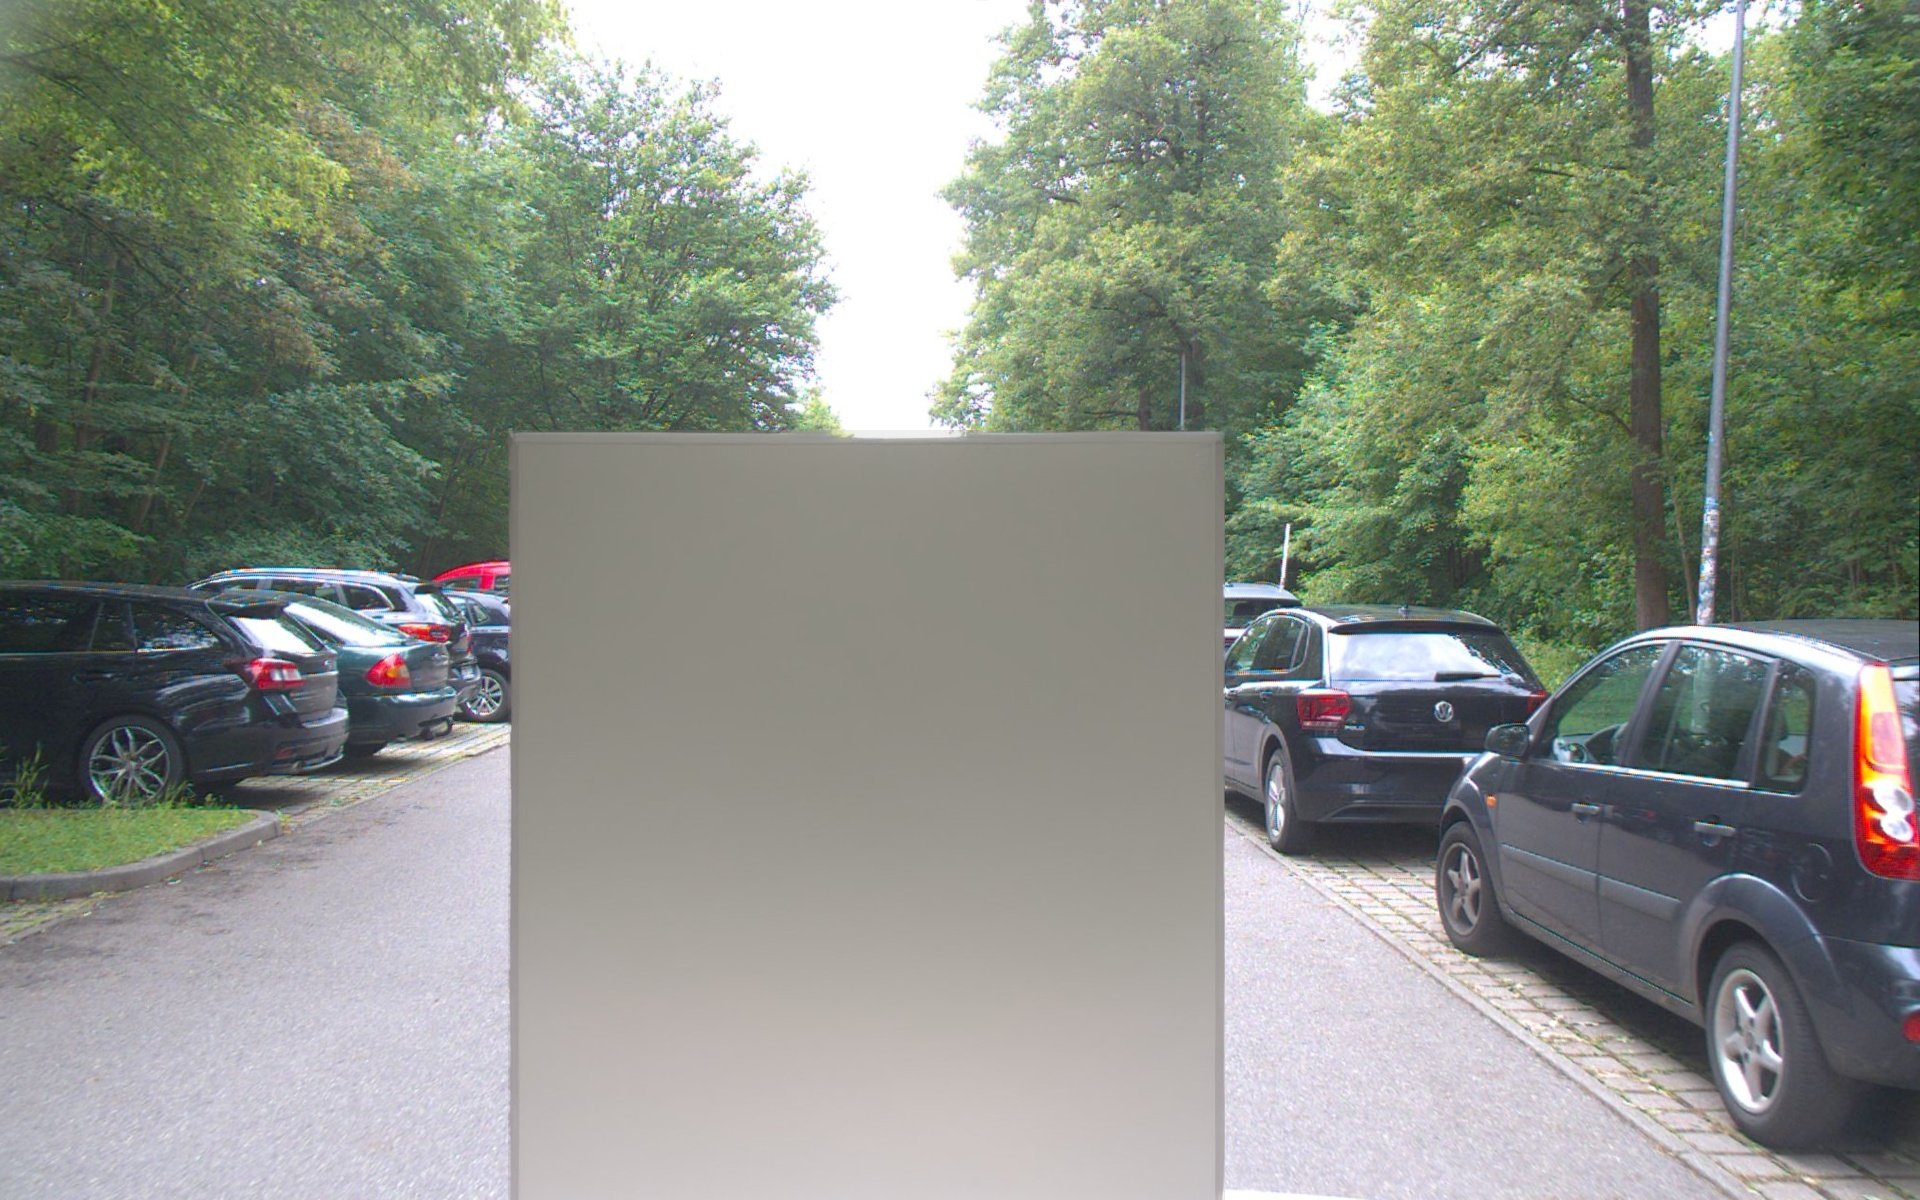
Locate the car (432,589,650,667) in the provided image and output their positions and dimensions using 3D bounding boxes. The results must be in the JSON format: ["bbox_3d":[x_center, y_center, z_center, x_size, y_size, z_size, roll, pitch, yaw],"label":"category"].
[{"bbox_3d":[-7.940,0.515,31.602,3.671,1.393,1.935,1,0,-2],"label":"car"}]

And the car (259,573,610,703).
[{"bbox_3d":[-6.671,0.459,21.368,3.907,1.557,1.999,1,0,-3],"label":"car"}]

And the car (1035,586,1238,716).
[{"bbox_3d":[2.287,0.616,22.573,1.940,1.564,4.162,1,1,-5],"label":"car"}]

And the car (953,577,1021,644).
[{"bbox_3d":[0.713,0.259,46.227,1.676,1.758,3.998,1,1,-2],"label":"car"}]

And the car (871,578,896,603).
[{"bbox_3d":[-5.288,-0.669,114.131,1.657,1.440,3.153,2,3,-3],"label":"car"}]

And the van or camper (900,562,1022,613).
[{"bbox_3d":[0.055,-0.819,104.681,7.207,2.938,2.638,1,3,-17],"label":"van or camper"}]

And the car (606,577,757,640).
[{"bbox_3d":[-7.716,0.229,45.998,3.906,1.669,1.734,1,0,-2],"label":"car"}]

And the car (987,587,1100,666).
[{"bbox_3d":[1.679,0.512,34.578,1.899,1.501,3.989,1,1,-4],"label":"car"}]

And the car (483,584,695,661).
[{"bbox_3d":[-7.527,0.442,33.829,3.906,1.500,1.847,1,0,-2],"label":"car"}]

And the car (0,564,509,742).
[{"bbox_3d":[-7.060,0.495,16.445,4.638,1.623,1.958,1,0,-4],"label":"car"}]

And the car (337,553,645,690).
[{"bbox_3d":[-6.667,0.301,23.916,3.909,1.848,2.113,1,0,-5],"label":"car"}]

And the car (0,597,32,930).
[{"bbox_3d":[-6.199,0.695,6.446,4.025,1.456,1.964,1,0,-1],"label":"car"}]

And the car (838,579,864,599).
[{"bbox_3d":[-7.741,-0.785,117.709,1.704,1.182,3.411,1,4,-1],"label":"car"}]

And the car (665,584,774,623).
[{"bbox_3d":[-8.946,0.126,61.555,3.914,1.406,1.996,1,0,-10],"label":"car"}]

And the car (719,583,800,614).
[{"bbox_3d":[-9.244,-0.058,76.113,3.517,1.385,1.821,1,0,-15],"label":"car"}]

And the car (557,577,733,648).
[{"bbox_3d":[-7.317,0.282,38.681,3.755,1.563,1.870,1,0,-2],"label":"car"}]

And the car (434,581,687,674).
[{"bbox_3d":[-6.856,0.456,28.759,3.907,1.500,2.114,1,0,-2],"label":"car"}]

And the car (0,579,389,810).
[{"bbox_3d":[-6.332,0.596,11.419,4.214,1.474,1.754,1,0,-8],"label":"car"}]

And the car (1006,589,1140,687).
[{"bbox_3d":[1.814,0.581,27.620,1.634,1.470,3.810,1,1,-5],"label":"car"}]

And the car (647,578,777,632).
[{"bbox_3d":[-7.958,0.144,53.414,3.906,1.669,2.008,1,0,-2],"label":"car"}]

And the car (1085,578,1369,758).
[{"bbox_3d":[2.541,0.577,16.943,1.938,1.564,4.619,1,1,-3],"label":"car"}]

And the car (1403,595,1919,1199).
[{"bbox_3d":[3.029,0.778,6.063,1.566,1.530,4.088,1,1,-2],"label":"car"}]

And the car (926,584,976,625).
[{"bbox_3d":[-0.389,0.161,65.649,1.882,1.547,3.886,1,1,-2],"label":"car"}]

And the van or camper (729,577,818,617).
[{"bbox_3d":[-9.943,-0.166,87.939,4.403,1.900,1.911,1,3,-17],"label":"van or camper"}]

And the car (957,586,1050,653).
[{"bbox_3d":[1.006,0.448,40.445,1.689,1.520,3.768,1,1,-7],"label":"car"}]

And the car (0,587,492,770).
[{"bbox_3d":[-6.491,0.605,13.764,4.638,1.367,1.986,1,0,-4],"label":"car"}]

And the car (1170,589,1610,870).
[{"bbox_3d":[2.616,0.700,11.091,1.604,1.503,4.148,1,0,-4],"label":"car"}]

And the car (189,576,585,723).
[{"bbox_3d":[-6.411,0.540,18.933,3.911,1.557,1.997,1,0,-7],"label":"car"}]
